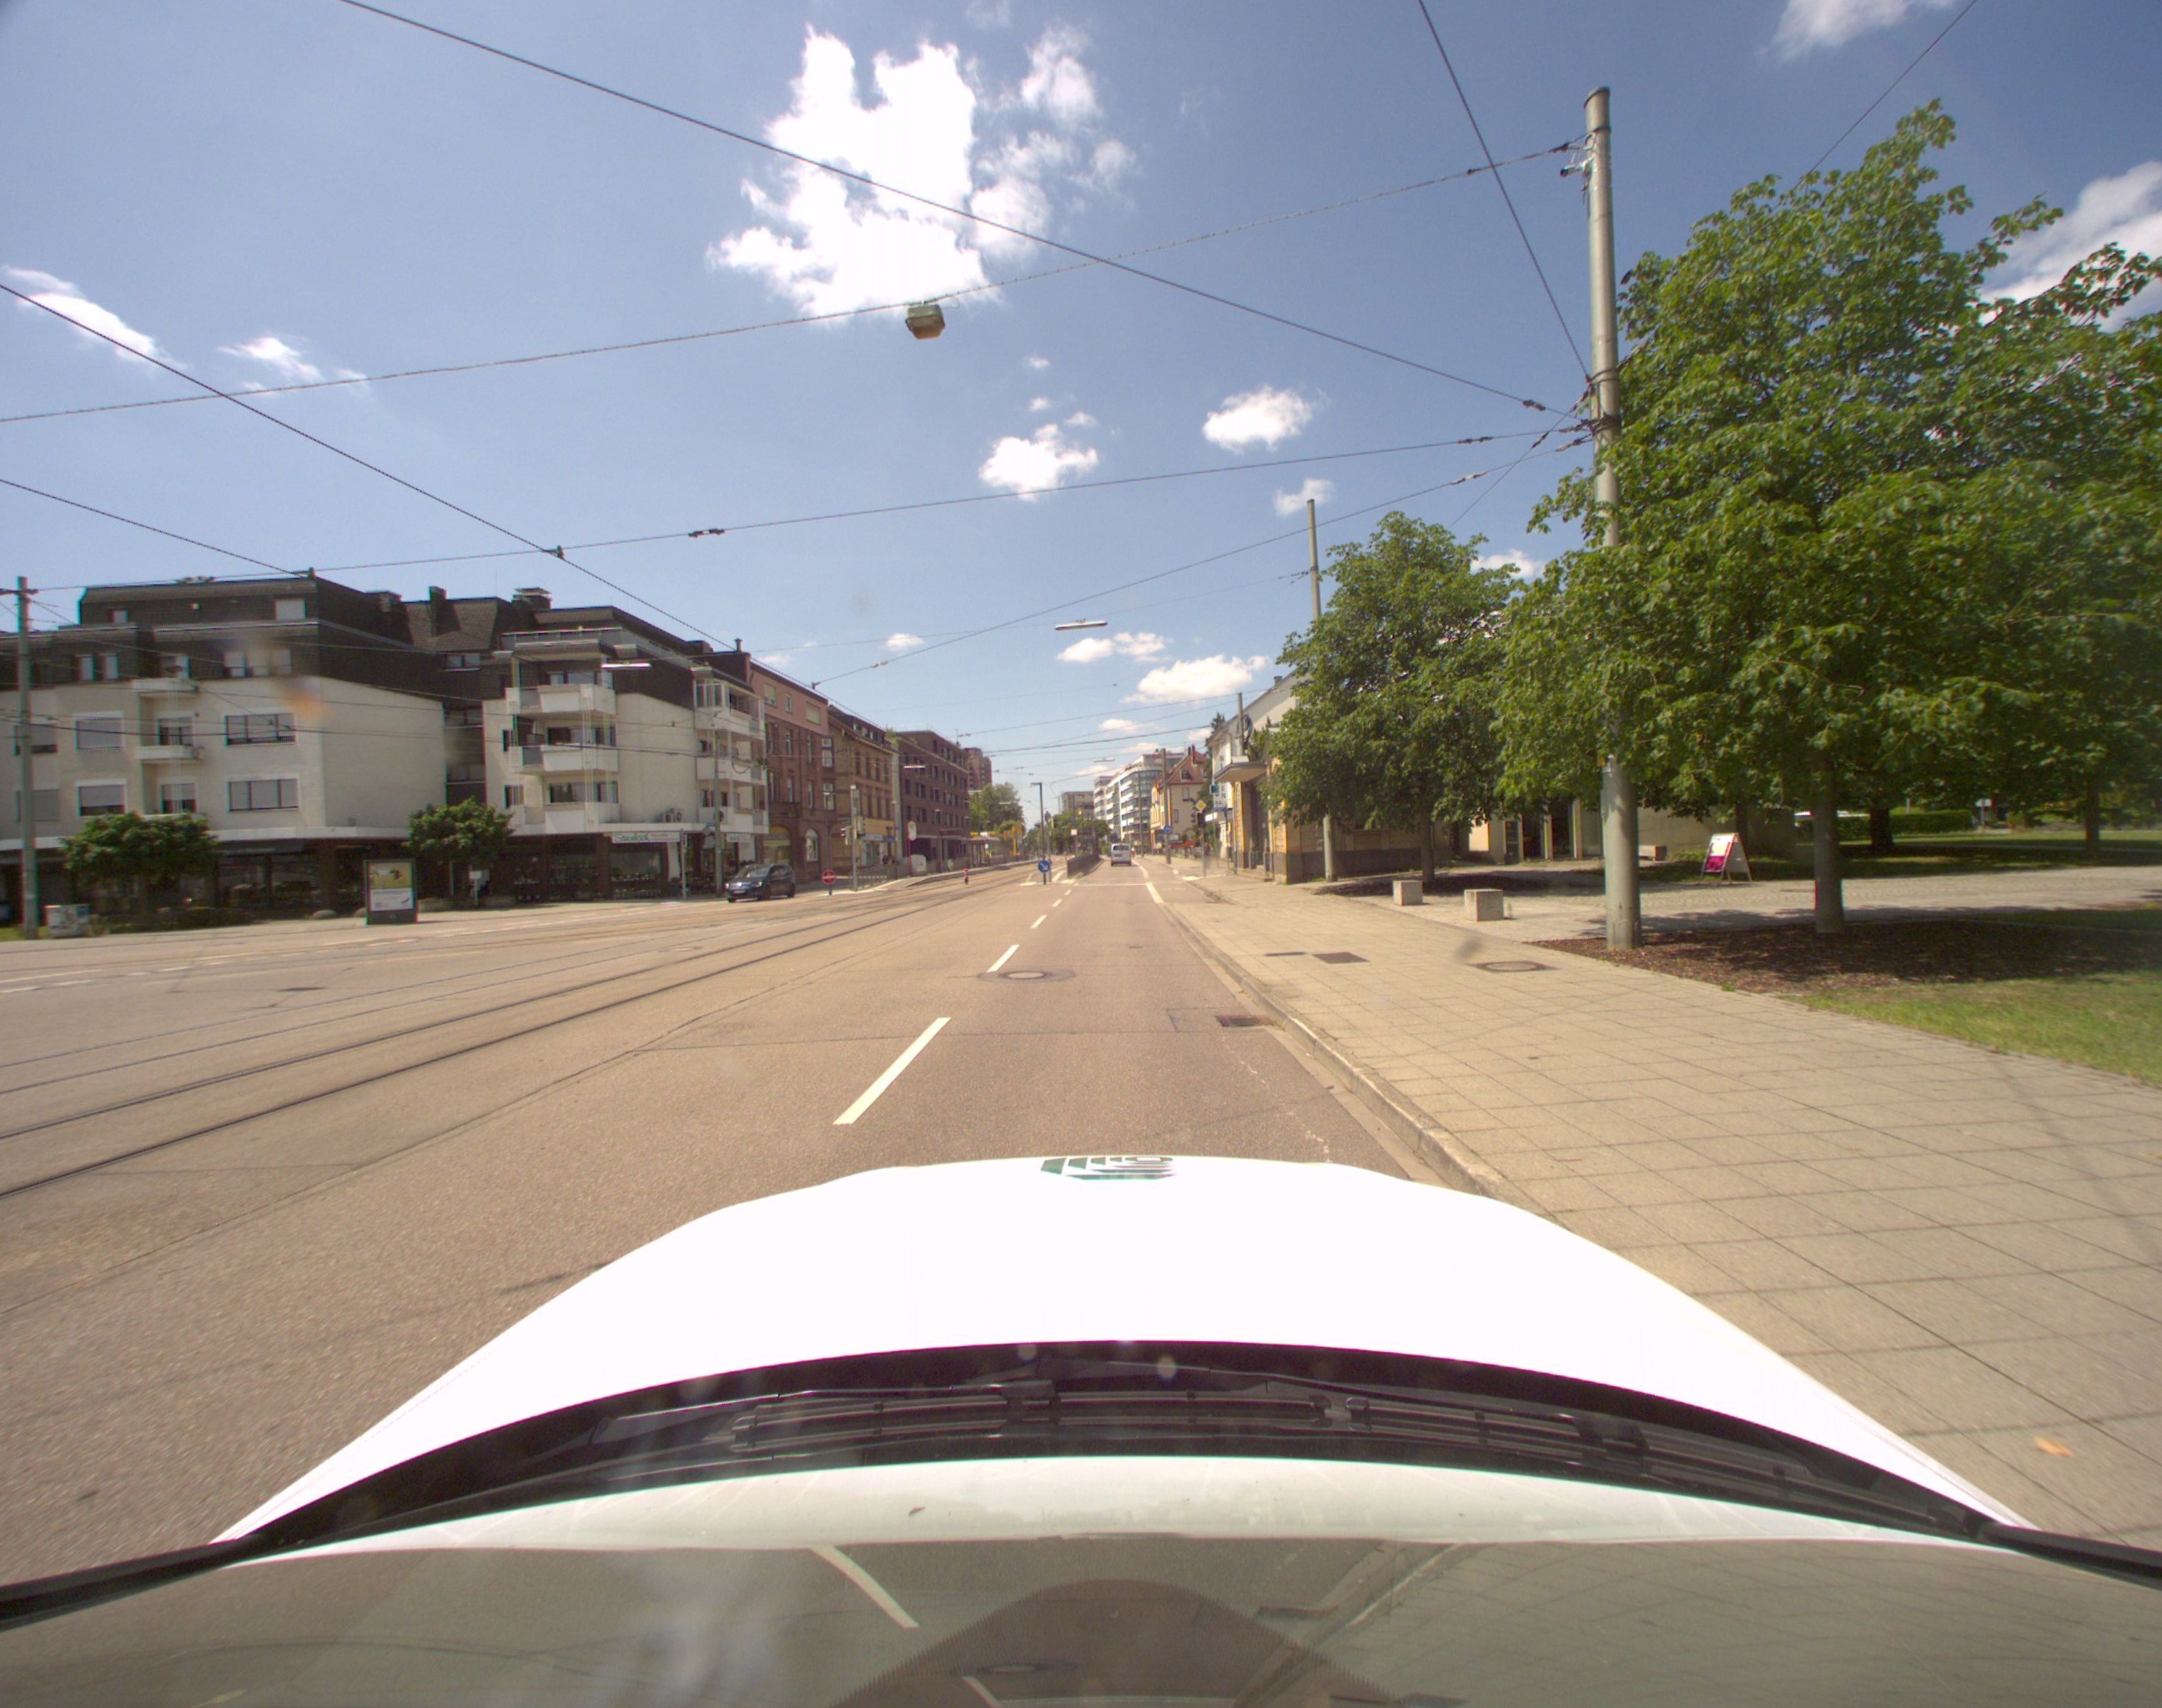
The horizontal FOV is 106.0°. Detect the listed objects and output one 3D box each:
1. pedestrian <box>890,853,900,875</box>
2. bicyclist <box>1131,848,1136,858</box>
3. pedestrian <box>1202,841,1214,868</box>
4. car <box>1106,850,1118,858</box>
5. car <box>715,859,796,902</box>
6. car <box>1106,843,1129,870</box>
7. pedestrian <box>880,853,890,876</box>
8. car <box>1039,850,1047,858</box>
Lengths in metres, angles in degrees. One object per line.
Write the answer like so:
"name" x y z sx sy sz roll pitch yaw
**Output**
"pedestrian" -16.975 0.905 74.405 0.674 2.014 0.685 -1 -1 0
"bicyclist" 7.331 -0.172 114.055 0.590 1.397 0.841 -2 0 -2
"pedestrian" 7.572 0.058 48.477 0.574 1.556 0.787 -4 -1 5
"car" 6.389 0.000 167.519 1.859 1.687 4.995 -3 0 -3
"car" -14.483 1.136 36.504 1.717 1.683 4.281 -3 0 1
"car" 3.027 0.184 67.463 1.745 2.013 4.003 -3 1 2
"pedestrian" -17.820 0.964 74.214 0.615 2.013 0.810 -3 0 0
"car" -10.010 0.056 213.010 1.697 1.616 3.749 -6 -3 -6
